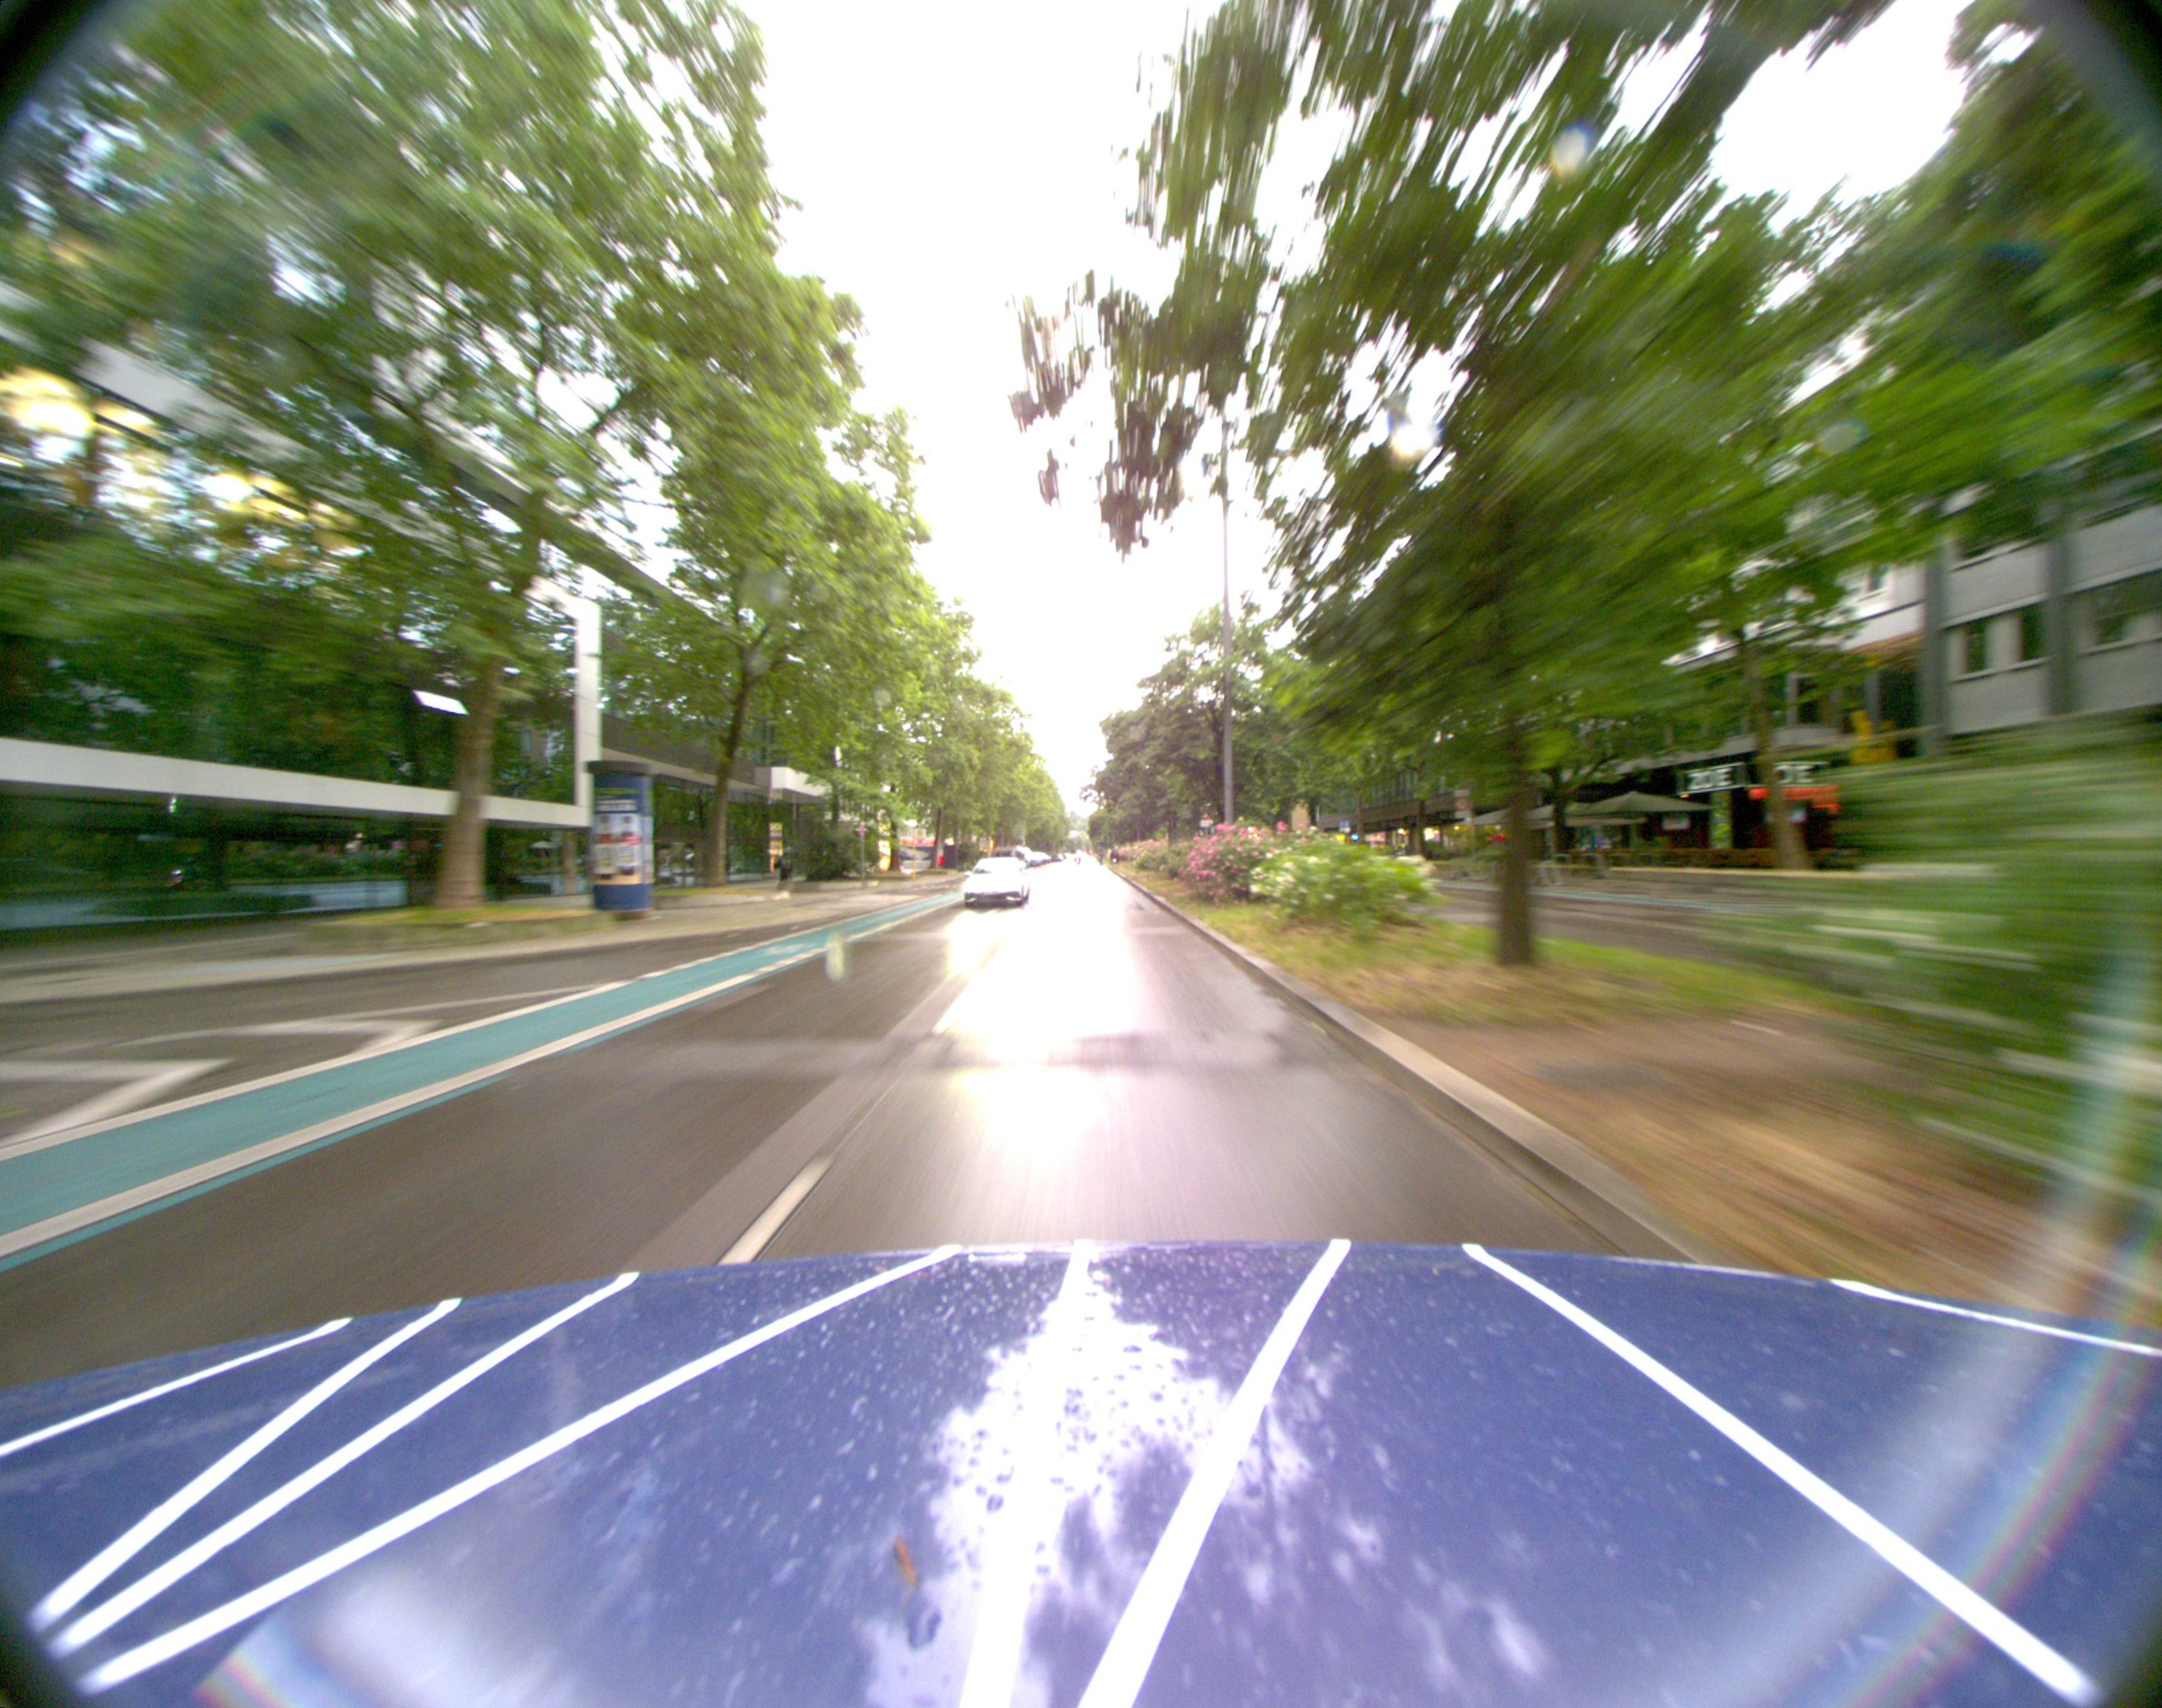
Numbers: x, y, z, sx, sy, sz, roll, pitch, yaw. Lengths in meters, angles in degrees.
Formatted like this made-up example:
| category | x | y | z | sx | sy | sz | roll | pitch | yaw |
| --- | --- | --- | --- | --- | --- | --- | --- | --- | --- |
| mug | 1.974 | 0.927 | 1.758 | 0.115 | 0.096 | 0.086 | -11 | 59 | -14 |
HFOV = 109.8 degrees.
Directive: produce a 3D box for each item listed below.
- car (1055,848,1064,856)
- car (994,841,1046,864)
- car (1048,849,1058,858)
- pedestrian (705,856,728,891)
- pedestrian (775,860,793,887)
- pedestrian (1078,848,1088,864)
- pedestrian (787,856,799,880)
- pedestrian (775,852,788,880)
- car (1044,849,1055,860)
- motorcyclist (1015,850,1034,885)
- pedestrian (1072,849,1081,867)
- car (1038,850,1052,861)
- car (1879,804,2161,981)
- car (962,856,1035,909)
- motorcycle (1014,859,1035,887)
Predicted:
| category | x | y | z | sx | sy | sz | roll | pitch | yaw |
| --- | --- | --- | --- | --- | --- | --- | --- | --- | --- |
| car | -4.442 | -0.405 | 159.046 | 1.598 | 1.517 | 3.425 | -2 | 1 | 1 |
| car | -7.575 | -0.174 | 93.364 | 6.267 | 2.665 | 2.326 | -1 | 2 | 36 |
| car | -4.922 | -0.067 | 134.770 | 1.598 | 1.517 | 3.425 | -2 | 1 | 1 |
| pedestrian | -19.200 | 1.018 | 40.008 | 0.790 | 1.783 | 1.086 | 1 | 0 | -9 |
| pedestrian | -16.689 | 1.075 | 42.750 | 0.588 | 1.496 | 1.005 | -1 | 1 | 1 |
| pedestrian | 0.203 | 0.255 | 87.043 | 0.892 | 1.839 | 0.787 | -3 | 2 | -10 |
| pedestrian | -19.549 | 0.938 | 51.552 | 0.527 | 1.616 | 0.719 | 1 | 2 | 1 |
| pedestrian | -20.288 | 0.820 | 51.476 | 0.524 | 1.848 | 0.704 | 1 | 2 | 1 |
| car | -4.858 | 0.052 | 117.440 | 1.598 | 1.517 | 3.425 | -2 | 1 | 1 |
| motorcyclist | -2.644 | 0.619 | 35.646 | 0.744 | 1.575 | 1.059 | -2 | 2 | 1 |
| pedestrian | -0.478 | 0.399 | 81.512 | 0.891 | 1.839 | 0.721 | -2 | 2 | 6 |
| car | -4.877 | 0.177 | 103.555 | 1.598 | 1.517 | 3.425 | -2 | 1 | 1 |
| car | 10.806 | 0.322 | 7.473 | 1.726 | 1.628 | 4.014 | -2 | 1 | 1 |
| car | -2.568 | 0.855 | 24.504 | 1.795 | 1.463 | 3.793 | -2 | 1 | 1 |
| motorcycle | -2.634 | 0.872 | 35.737 | 0.744 | 1.194 | 2.235 | -2 | 1 | 1 |
